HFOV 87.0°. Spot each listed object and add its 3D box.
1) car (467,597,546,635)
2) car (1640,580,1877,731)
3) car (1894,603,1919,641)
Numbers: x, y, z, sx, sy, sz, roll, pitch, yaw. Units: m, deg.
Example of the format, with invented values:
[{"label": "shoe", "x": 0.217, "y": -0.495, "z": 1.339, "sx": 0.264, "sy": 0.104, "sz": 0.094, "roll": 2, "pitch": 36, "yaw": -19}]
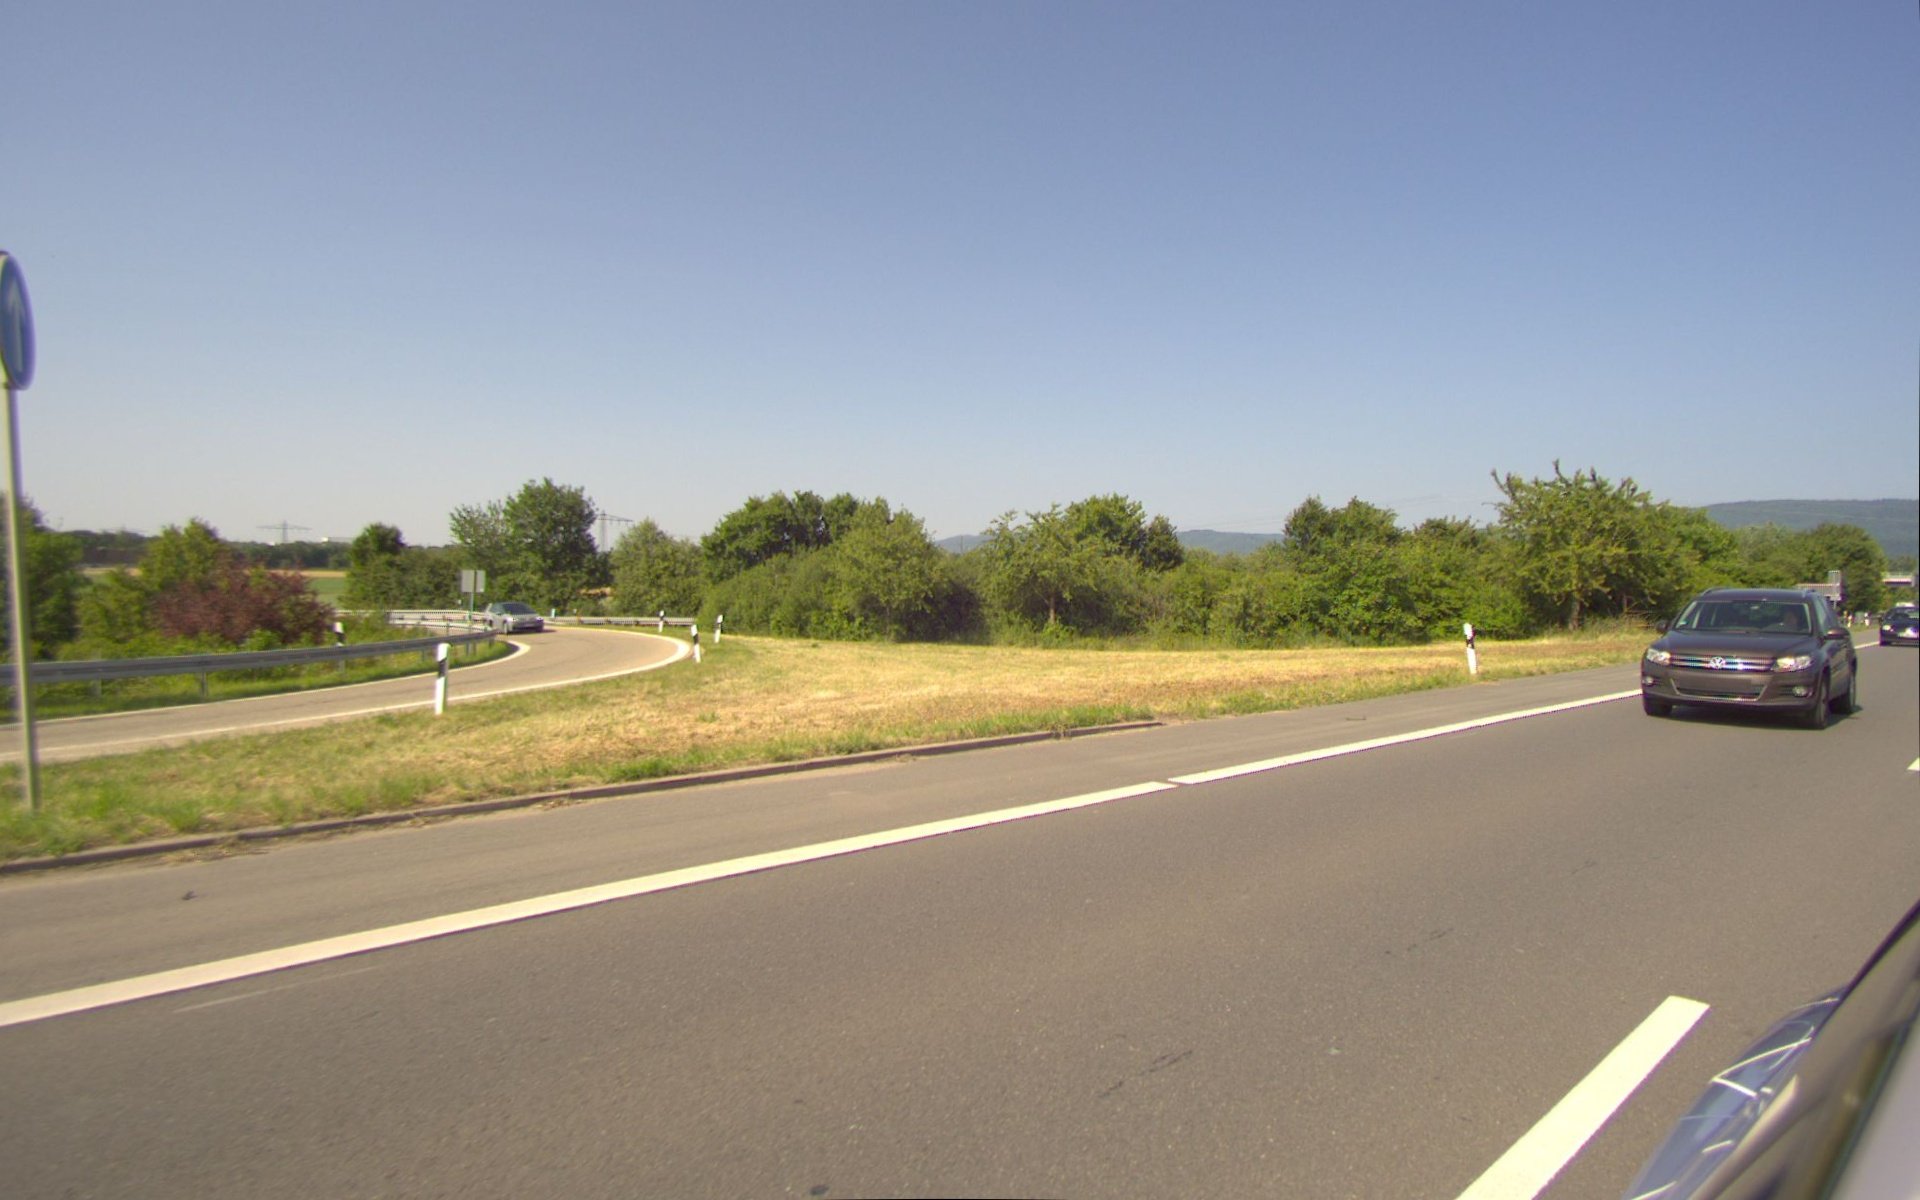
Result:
[{"label": "car", "x": -22.593, "y": 0.759, "z": 50.370, "sx": 3.976, "sy": 1.686, "sz": 1.842, "roll": 1, "pitch": 4, "yaw": 37}, {"label": "car", "x": 10.500, "y": 0.581, "z": 13.200, "sx": 4.077, "sy": 1.667, "sz": 1.788, "roll": -1, "pitch": 1, "yaw": -42}, {"label": "car", "x": 34.874, "y": 0.766, "z": 36.474, "sx": 3.935, "sy": 1.264, "sz": 1.597, "roll": -1, "pitch": 1, "yaw": -45}]
